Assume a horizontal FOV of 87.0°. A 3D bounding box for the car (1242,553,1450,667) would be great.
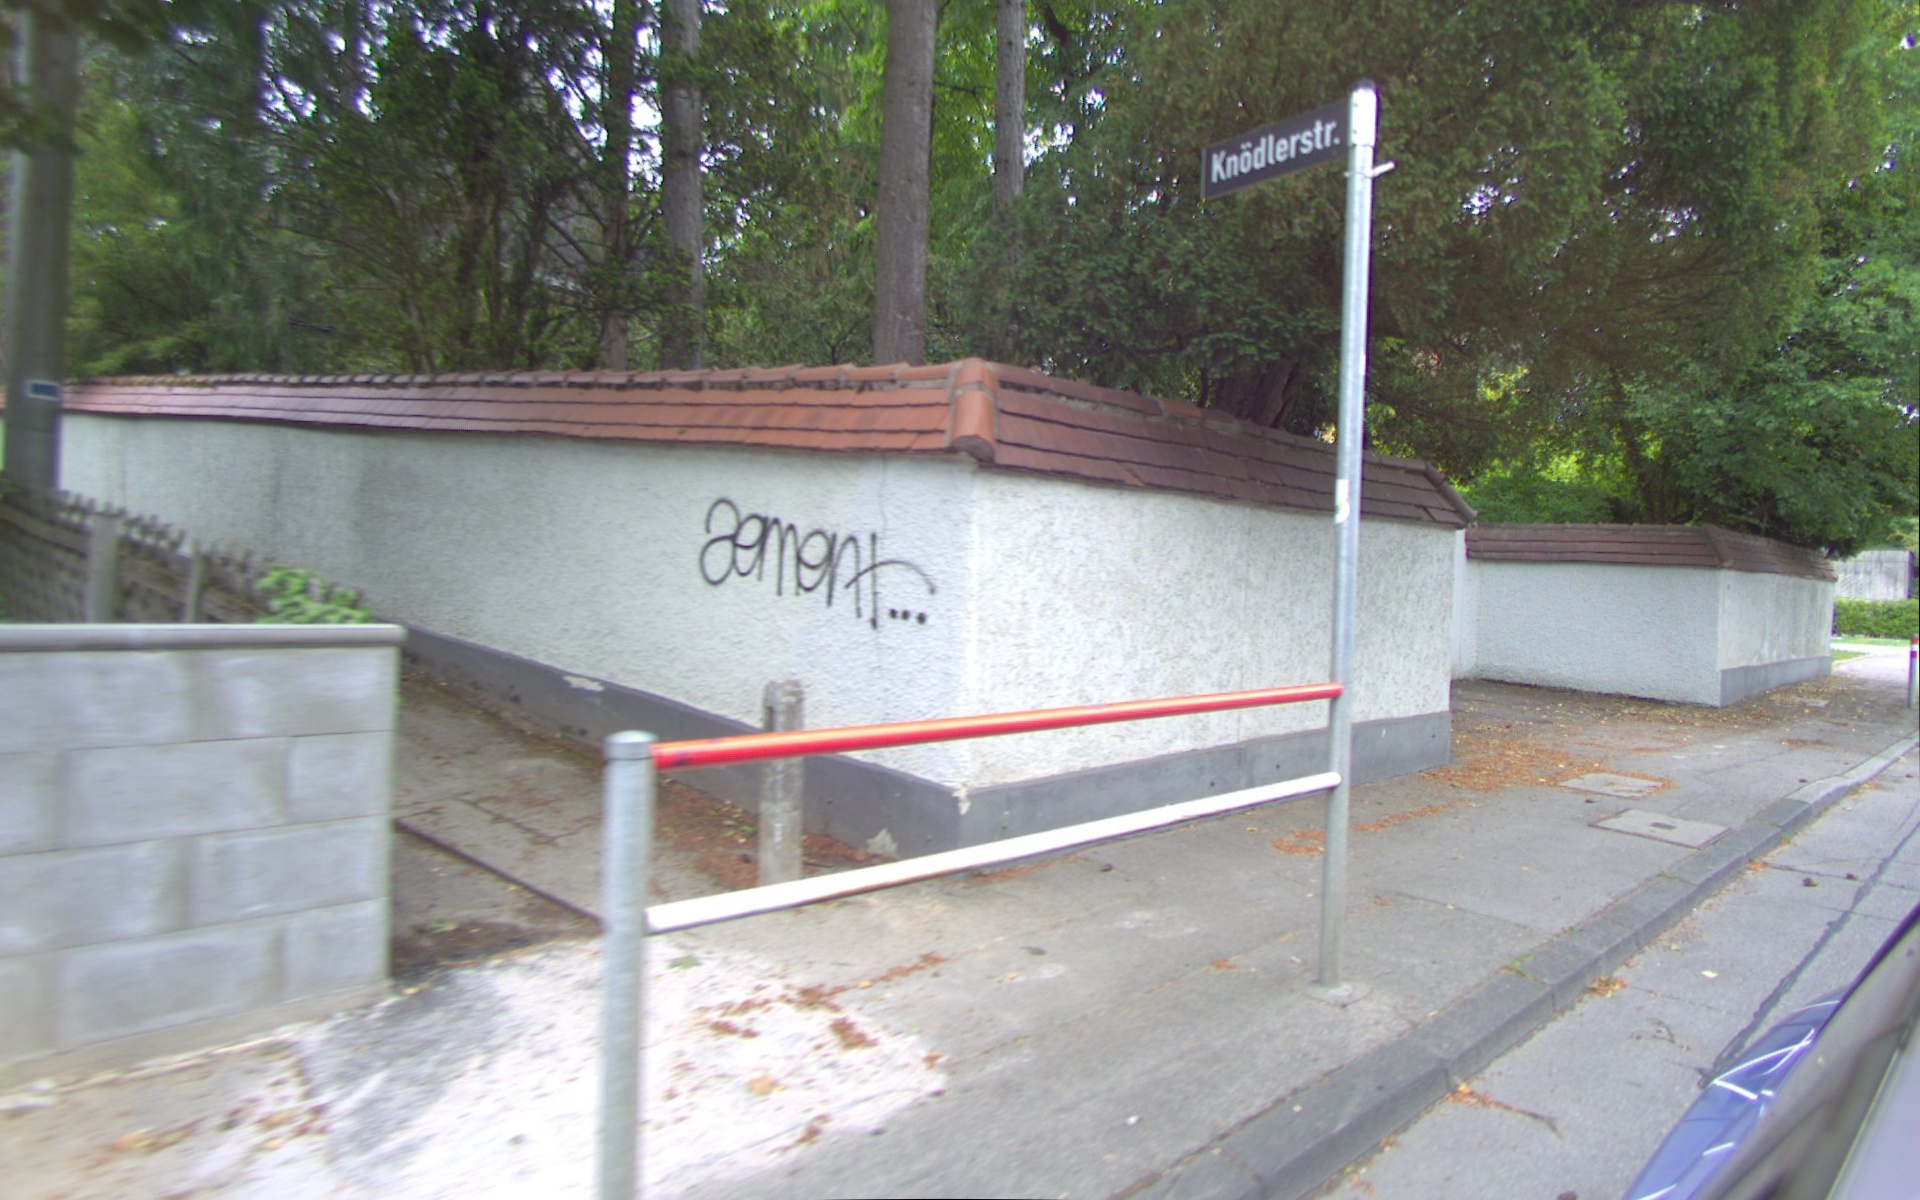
[{"bbox_3d":[6.490,0.083,16.794,1.753,1.503,3.938,10,7,43],"label":"car"}]
